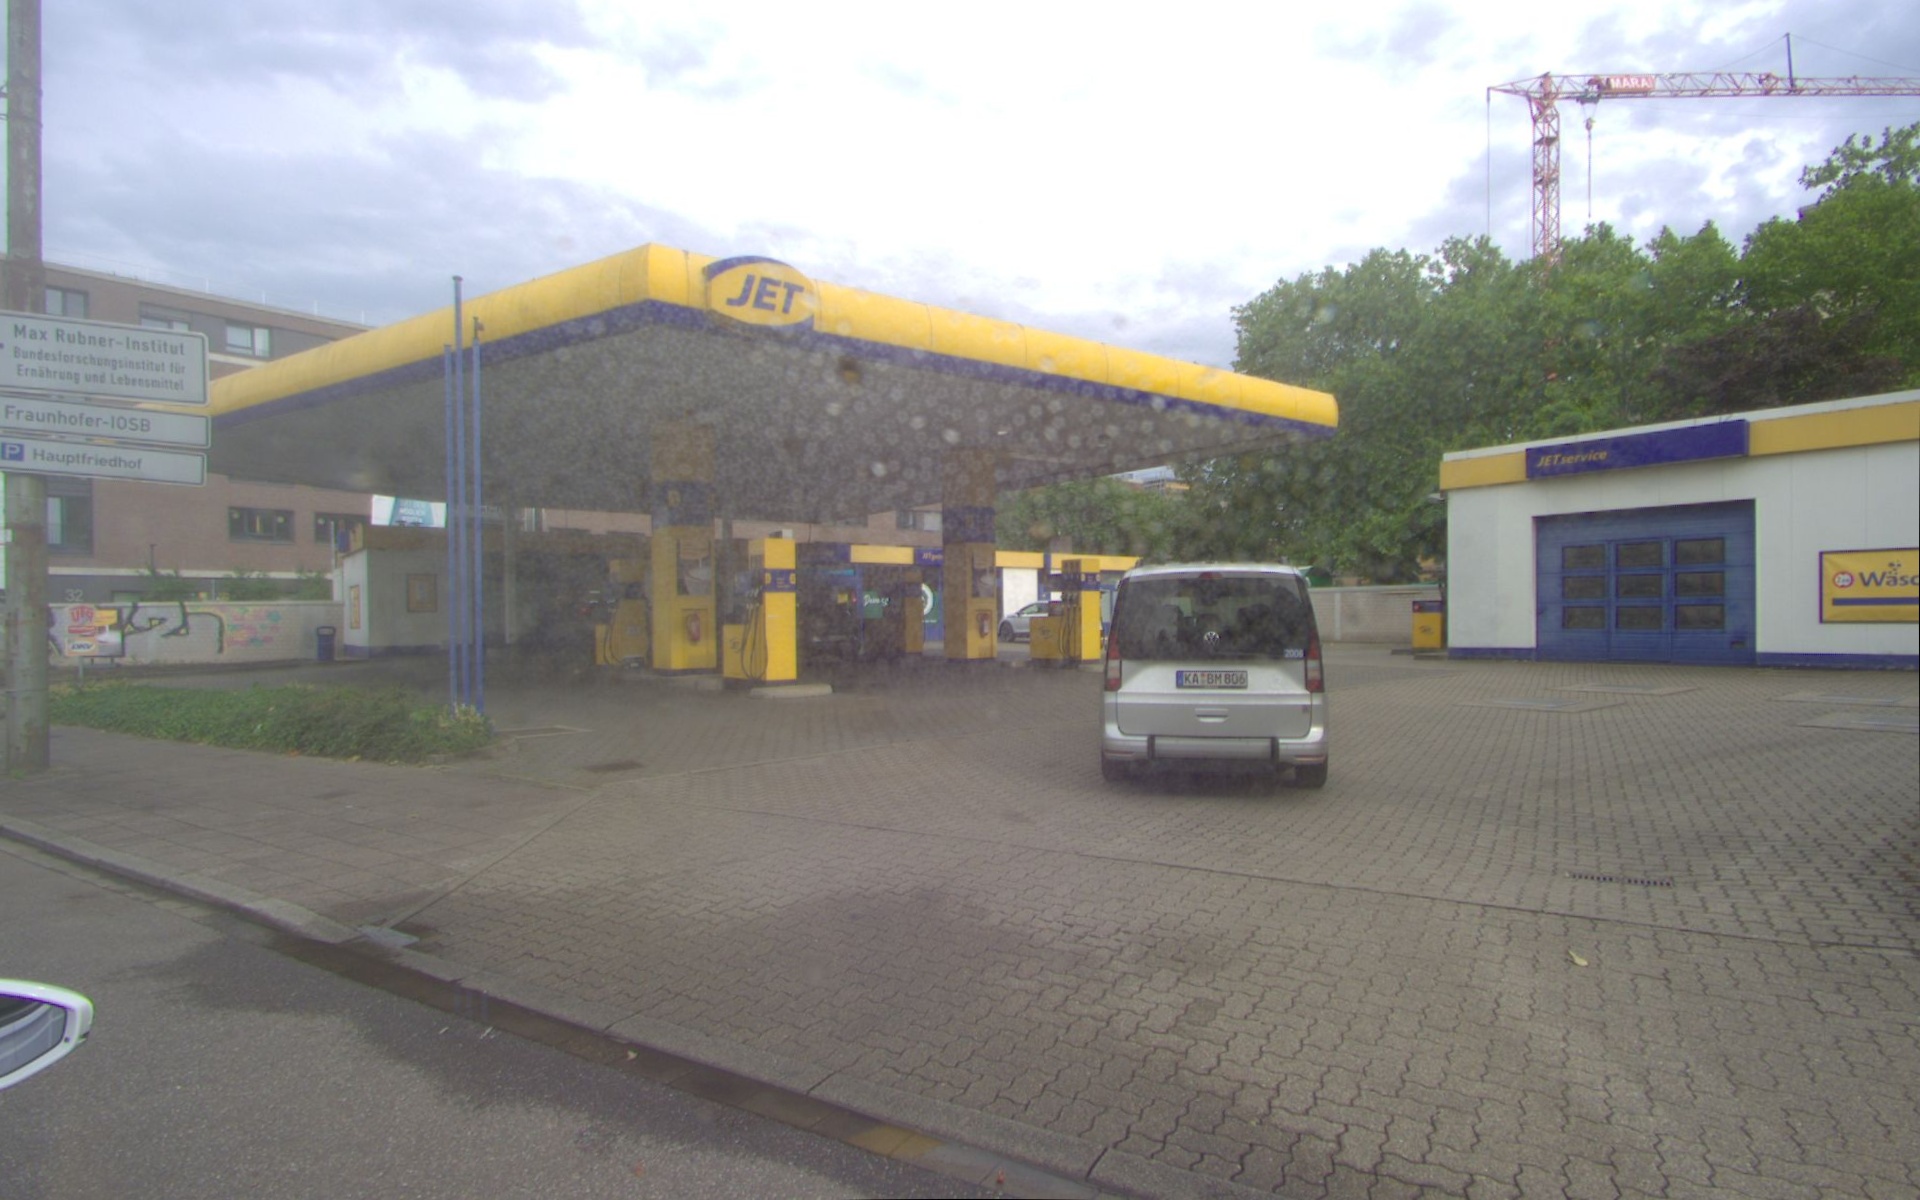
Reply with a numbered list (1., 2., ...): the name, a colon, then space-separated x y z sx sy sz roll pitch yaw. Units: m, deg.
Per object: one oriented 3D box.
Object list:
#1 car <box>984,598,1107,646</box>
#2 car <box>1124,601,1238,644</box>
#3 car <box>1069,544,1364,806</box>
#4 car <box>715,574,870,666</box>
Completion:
1. car: 3.165 0.779 37.980 1.919 1.617 4.722 0 1 -38
2. car: 9.038 0.876 41.291 1.936 1.607 4.390 1 0 -37
3. car: 2.091 0.509 9.490 1.949 1.868 4.525 -1 1 5
4. car: -4.128 0.483 24.209 1.804 2.014 4.219 -2 0 -40
